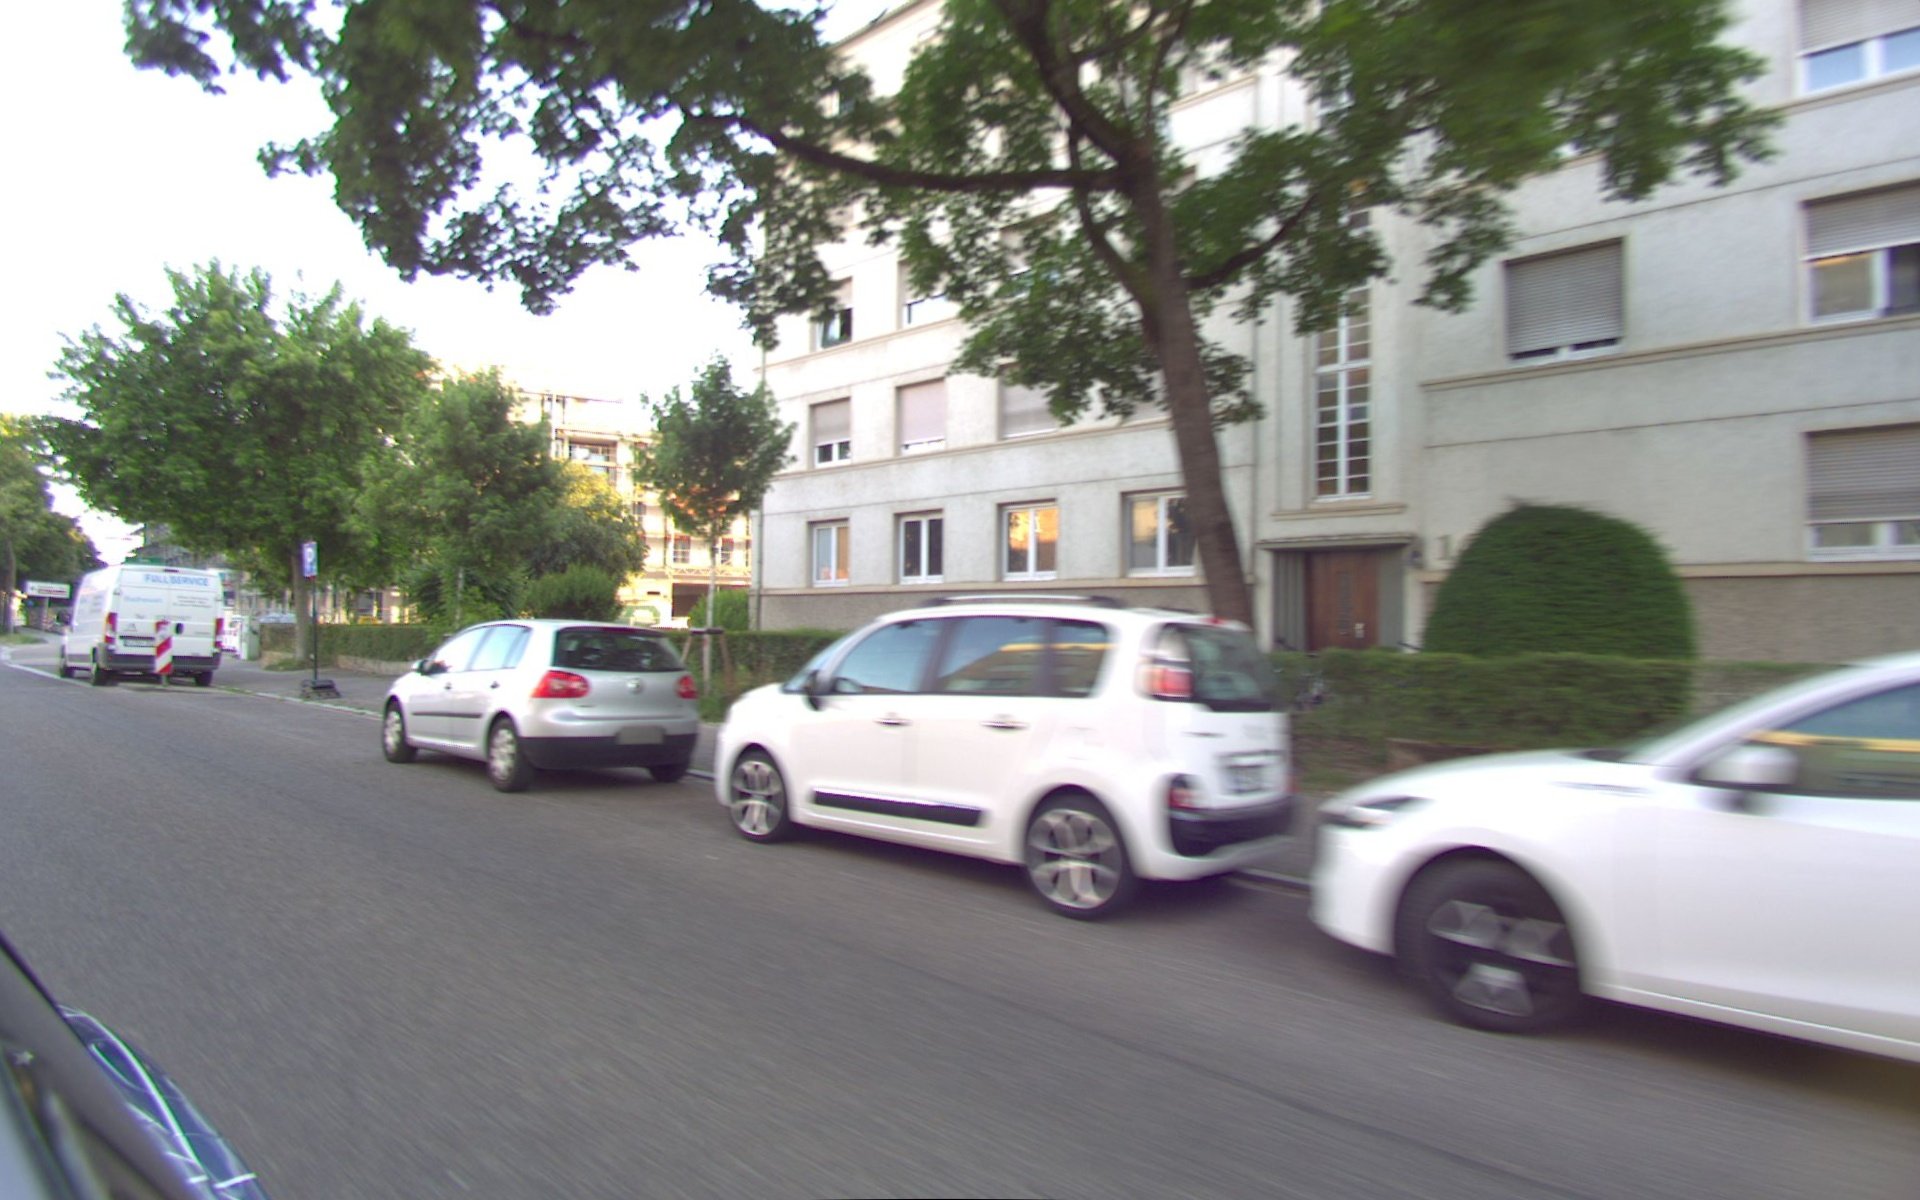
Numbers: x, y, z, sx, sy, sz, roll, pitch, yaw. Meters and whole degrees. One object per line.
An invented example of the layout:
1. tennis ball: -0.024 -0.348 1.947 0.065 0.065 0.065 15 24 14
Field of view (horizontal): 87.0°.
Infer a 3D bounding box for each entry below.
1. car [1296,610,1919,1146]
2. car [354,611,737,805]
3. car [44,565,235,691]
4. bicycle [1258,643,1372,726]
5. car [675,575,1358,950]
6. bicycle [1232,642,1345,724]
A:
1. car: 3.391 0.839 3.391 3.944 1.491 1.733 -1 -5 42
2. car: -4.177 0.931 9.857 4.223 1.483 1.733 -1 -5 42
3. car: -18.595 0.669 22.813 6.100 2.480 2.156 -1 -5 41
4. bicycle: 4.825 1.112 13.710 1.787 1.051 0.559 2 -2 -37
5. car: 0.165 0.805 6.470 4.103 1.644 1.735 -1 -5 40
6. bicycle: 4.550 1.116 13.965 1.787 1.051 0.559 2 -2 -37
